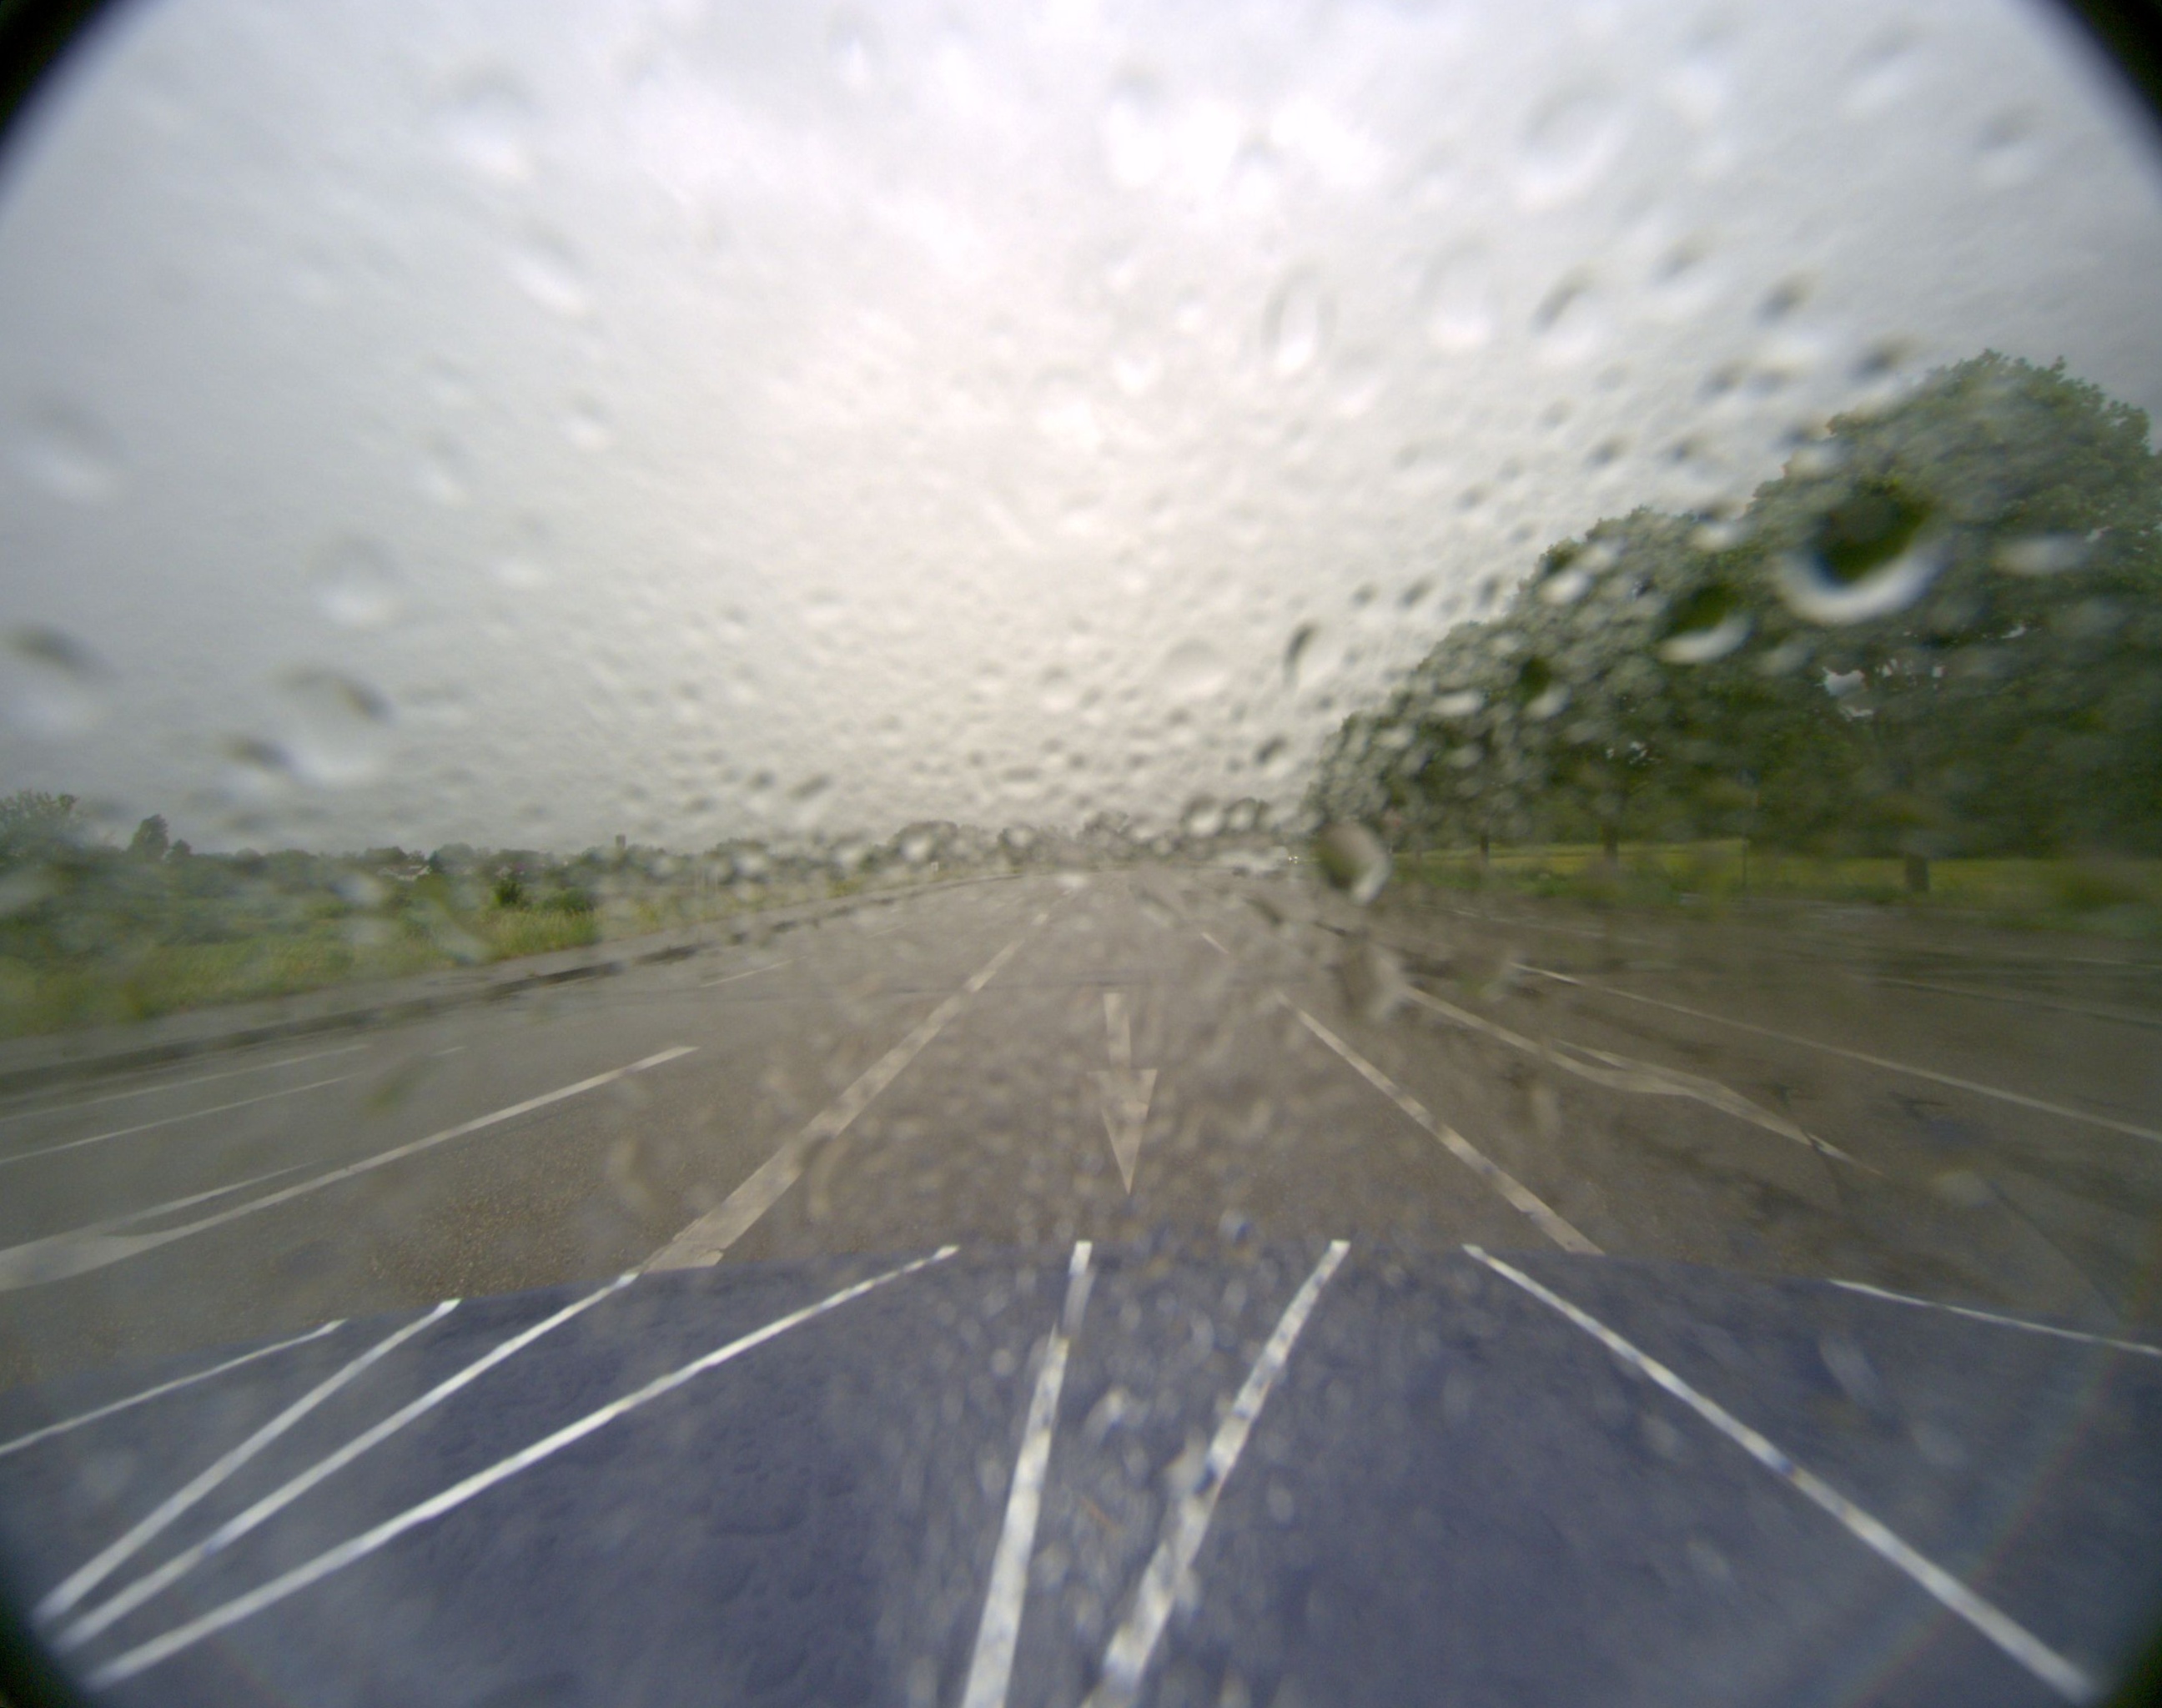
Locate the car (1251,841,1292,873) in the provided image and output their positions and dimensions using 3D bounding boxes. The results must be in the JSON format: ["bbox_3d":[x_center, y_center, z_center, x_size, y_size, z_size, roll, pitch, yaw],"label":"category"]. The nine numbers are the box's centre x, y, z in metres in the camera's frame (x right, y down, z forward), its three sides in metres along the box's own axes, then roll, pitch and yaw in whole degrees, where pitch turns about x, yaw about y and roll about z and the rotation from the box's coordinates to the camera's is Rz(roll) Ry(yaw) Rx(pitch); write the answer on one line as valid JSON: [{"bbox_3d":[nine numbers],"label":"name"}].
[{"bbox_3d":[12.217,0.158,48.979,2.110,1.881,4.793,-1,0,8],"label":"car"}]
